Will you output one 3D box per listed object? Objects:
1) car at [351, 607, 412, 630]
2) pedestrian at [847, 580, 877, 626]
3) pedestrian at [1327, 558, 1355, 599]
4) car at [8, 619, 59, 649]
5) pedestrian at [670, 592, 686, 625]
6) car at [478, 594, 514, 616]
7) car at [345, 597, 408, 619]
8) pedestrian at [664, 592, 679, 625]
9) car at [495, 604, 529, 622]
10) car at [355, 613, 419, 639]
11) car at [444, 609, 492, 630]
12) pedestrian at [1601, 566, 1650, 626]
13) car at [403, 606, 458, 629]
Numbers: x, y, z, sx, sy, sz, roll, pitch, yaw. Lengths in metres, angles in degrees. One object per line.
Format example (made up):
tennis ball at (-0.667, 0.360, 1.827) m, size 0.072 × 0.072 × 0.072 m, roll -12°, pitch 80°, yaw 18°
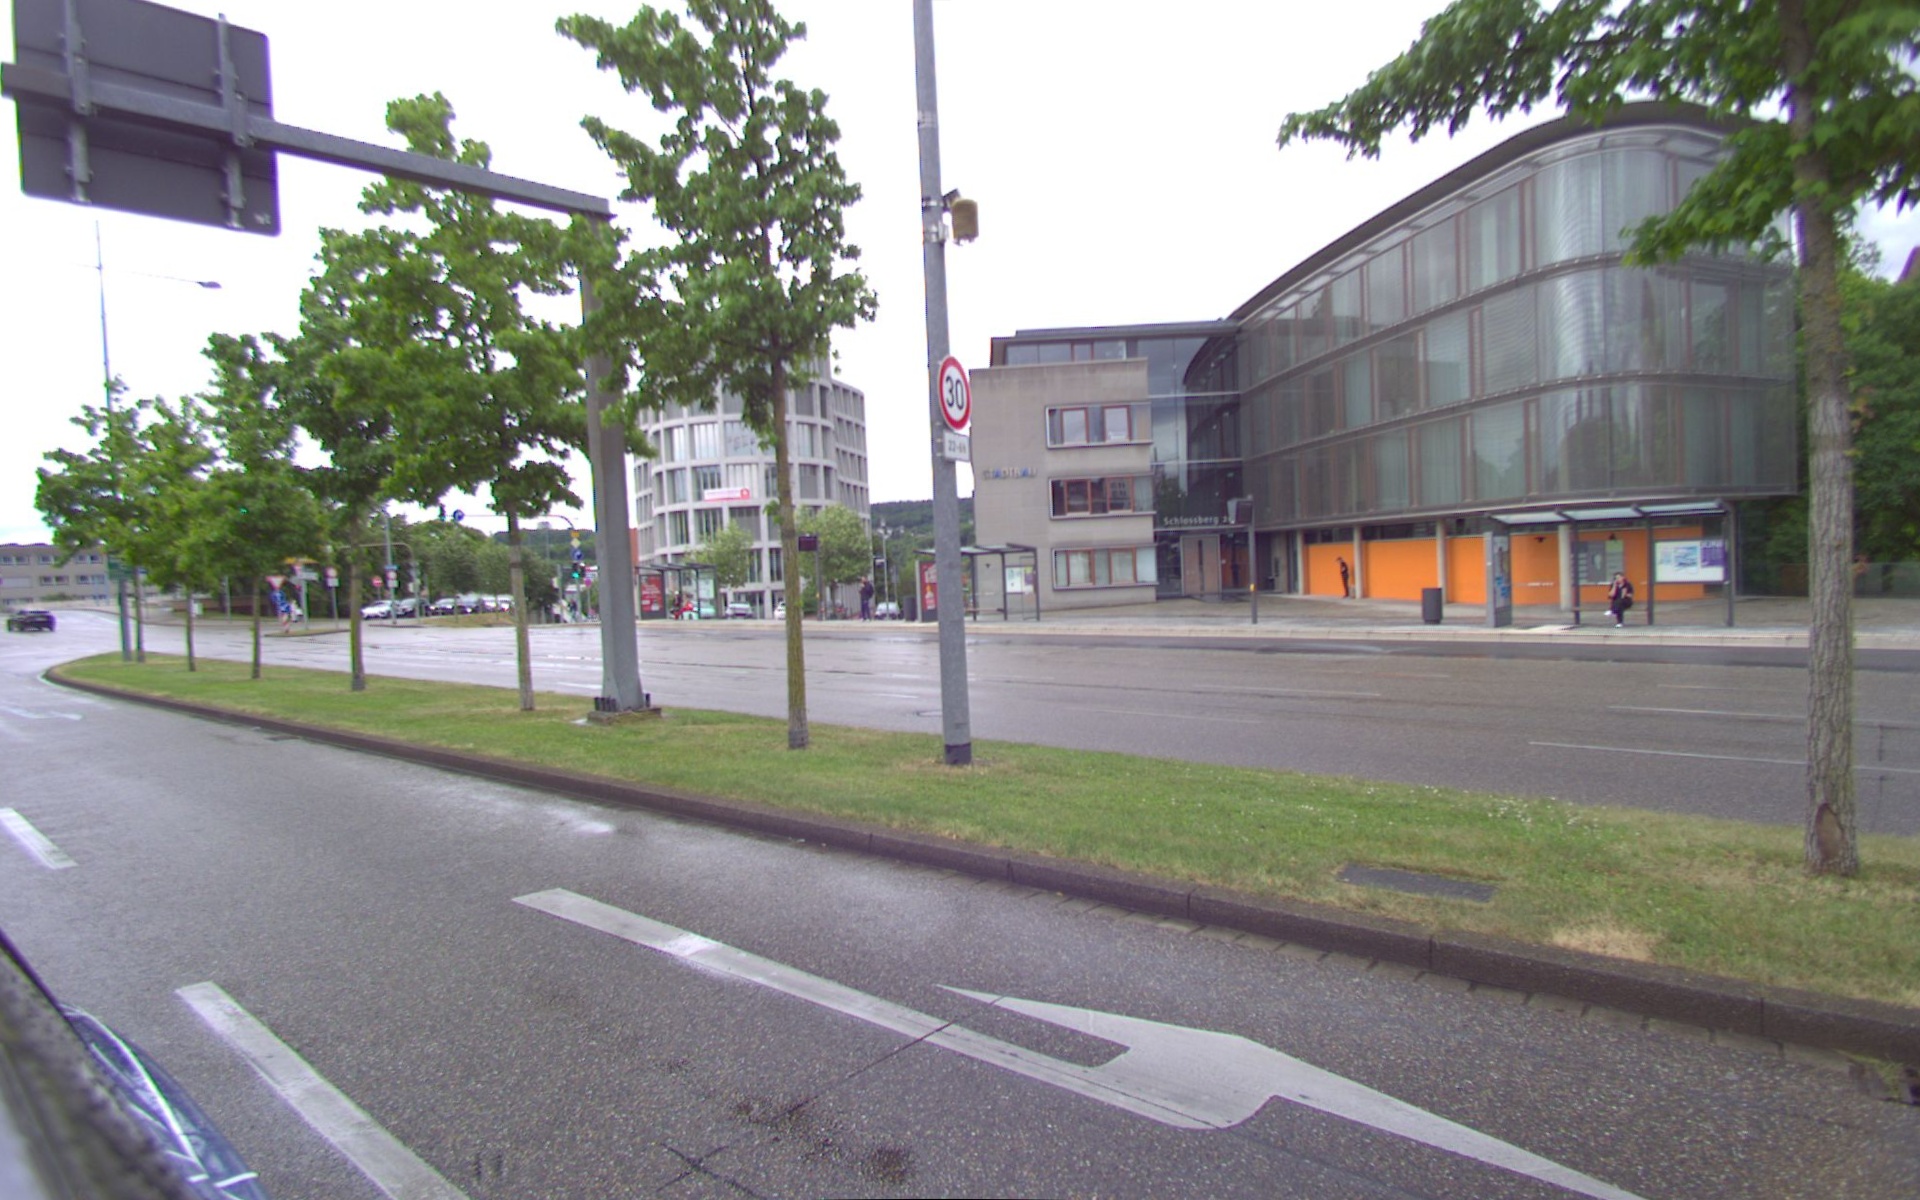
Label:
car at (-46.083, 1.448, 80.758) m, size 2.164 × 1.725 × 4.919 m, roll -2°, pitch 0°, yaw -2°
pedestrian at (-3.903, 0.114, 40.533) m, size 0.964 × 1.773 × 0.783 m, roll -2°, pitch 0°, yaw 12°
pedestrian at (15.626, -0.869, 41.510) m, size 0.697 × 1.666 × 0.852 m, roll -2°, pitch 0°, yaw -6°
car at (-59.948, 2.170, 65.485) m, size 3.998 × 1.789 × 1.973 m, roll -1°, pitch 0°, yaw 41°
pedestrian at (-14.051, 0.409, 50.420) m, size 0.535 × 1.647 × 0.514 m, roll -1°, pitch 0°, yaw 41°
car at (-45.503, 0.492, 99.264) m, size 1.969 × 2.029 × 4.005 m, roll -1°, pitch -1°, yaw -6°
car at (-57.940, 0.786, 100.563) m, size 4.963 × 2.029 × 2.311 m, roll -2°, pitch 0°, yaw 0°
pedestrian at (-14.222, 0.414, 49.851) m, size 0.501 × 1.647 × 0.497 m, roll -1°, pitch 0°, yaw 41°
car at (-47.053, 1.374, 106.238) m, size 2.161 × 1.725 × 4.926 m, roll -2°, pitch 0°, yaw -38°
car at (-43.017, 1.941, 76.136) m, size 2.164 × 1.725 × 4.920 m, roll -2°, pitch 0°, yaw -3°
car at (-45.006, 1.774, 92.642) m, size 2.164 × 1.725 × 4.920 m, roll -2°, pitch 0°, yaw -3°
pedestrian at (15.134, -0.084, 23.022) m, size 0.790 × 1.334 × 0.793 m, roll -2°, pitch 0°, yaw 42°
car at (-43.861, 1.417, 83.939) m, size 2.164 × 1.725 × 4.920 m, roll -2°, pitch 0°, yaw -3°
